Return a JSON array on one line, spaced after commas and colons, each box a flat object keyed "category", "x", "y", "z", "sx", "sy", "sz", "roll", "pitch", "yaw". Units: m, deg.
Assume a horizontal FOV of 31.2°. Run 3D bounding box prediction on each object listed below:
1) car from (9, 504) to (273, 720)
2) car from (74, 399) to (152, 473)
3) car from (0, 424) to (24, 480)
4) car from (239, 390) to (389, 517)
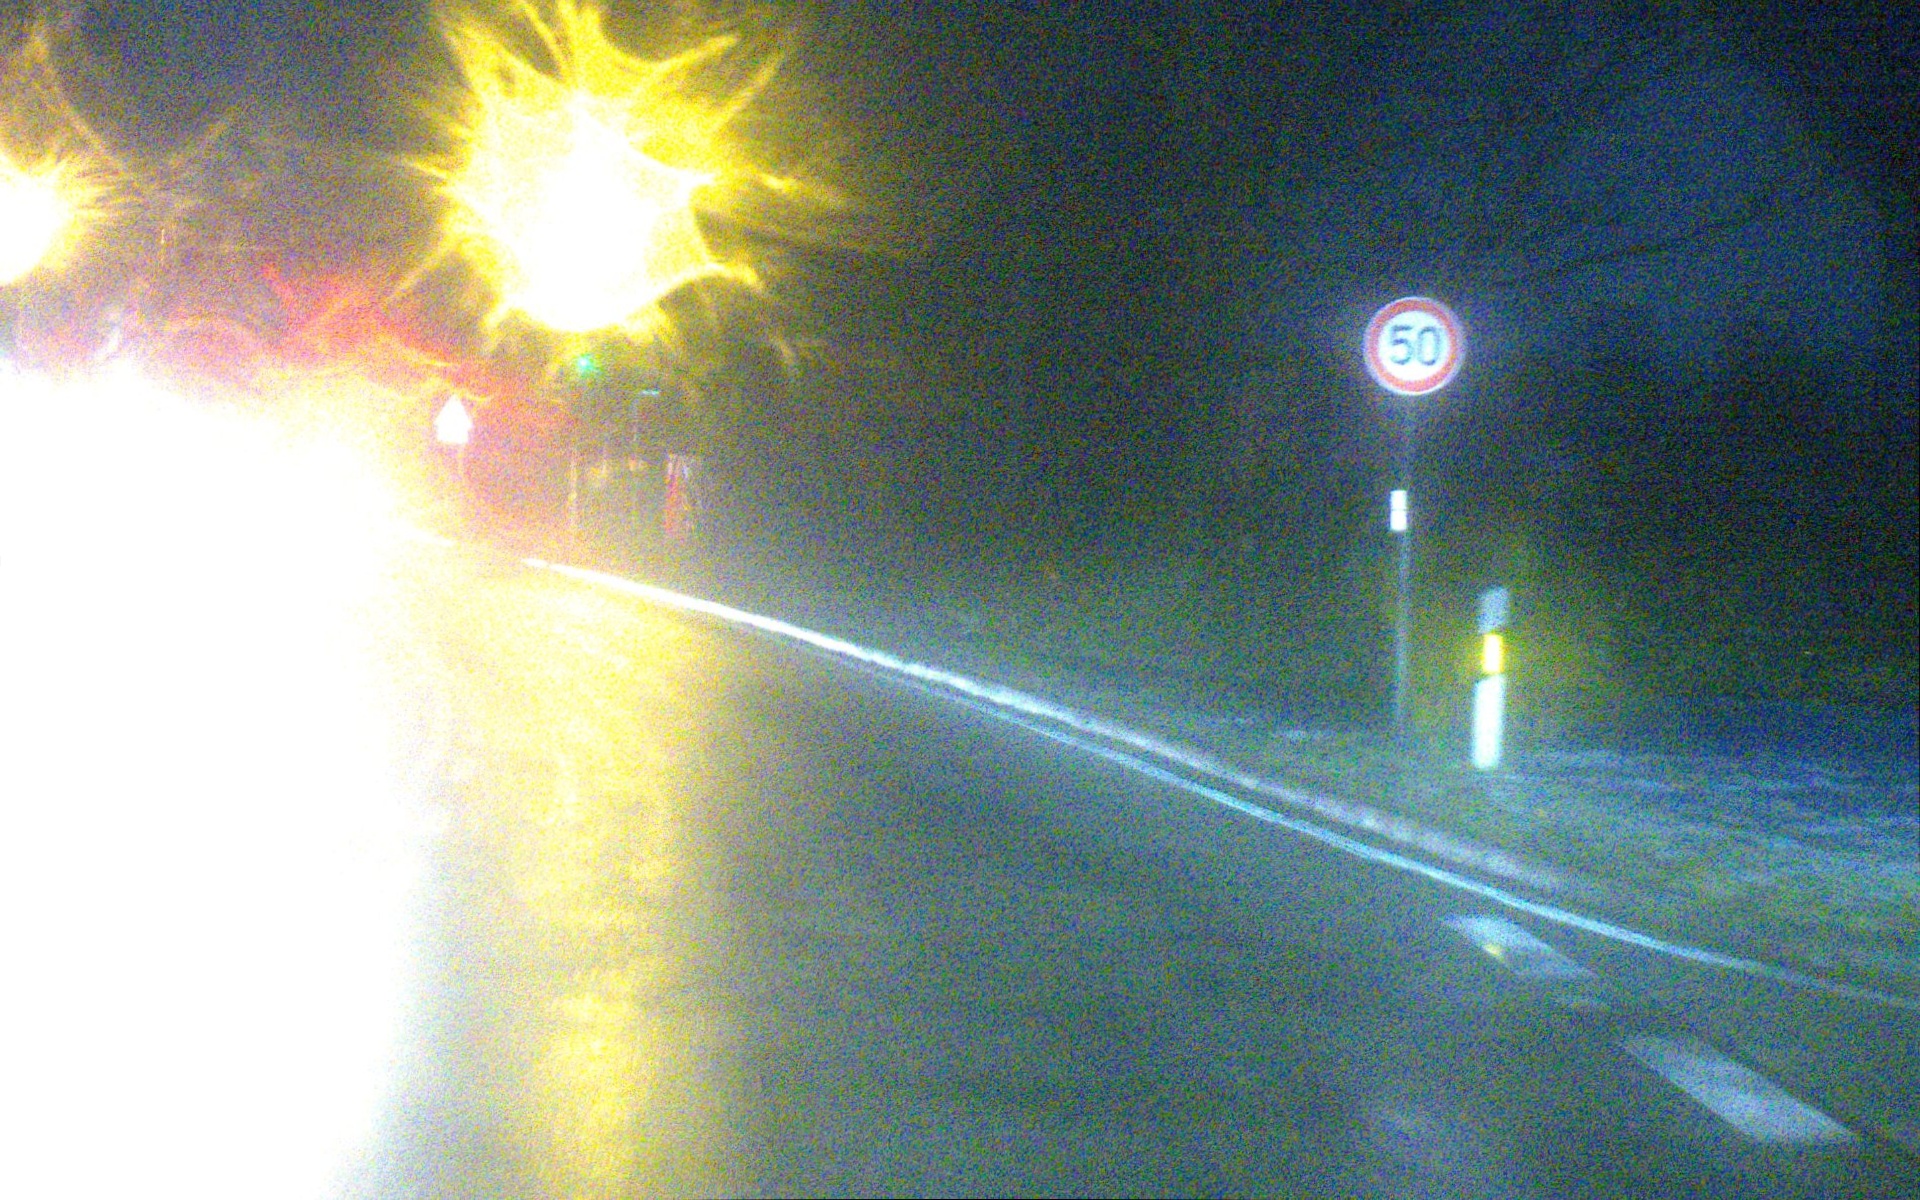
[{"category": "car", "x": -6.595, "y": 0.037, "z": 28.007, "sx": 1.695, "sy": 1.594, "sz": 3.802, "roll": 0, "pitch": 2, "yaw": -7}, {"category": "car", "x": -25.020, "y": -4.804, "z": 101.443, "sx": 1.993, "sy": 2.007, "sz": 4.001, "roll": 1, "pitch": 1, "yaw": -17}, {"category": "car", "x": -26.946, "y": -4.048, "z": 94.745, "sx": 1.635, "sy": 1.505, "sz": 4.118, "roll": -3, "pitch": 3, "yaw": -23}, {"category": "car", "x": -13.846, "y": -3.191, "z": 73.432, "sx": 2.538, "sy": 2.489, "sz": 5.717, "roll": -1, "pitch": 5, "yaw": -16}]
